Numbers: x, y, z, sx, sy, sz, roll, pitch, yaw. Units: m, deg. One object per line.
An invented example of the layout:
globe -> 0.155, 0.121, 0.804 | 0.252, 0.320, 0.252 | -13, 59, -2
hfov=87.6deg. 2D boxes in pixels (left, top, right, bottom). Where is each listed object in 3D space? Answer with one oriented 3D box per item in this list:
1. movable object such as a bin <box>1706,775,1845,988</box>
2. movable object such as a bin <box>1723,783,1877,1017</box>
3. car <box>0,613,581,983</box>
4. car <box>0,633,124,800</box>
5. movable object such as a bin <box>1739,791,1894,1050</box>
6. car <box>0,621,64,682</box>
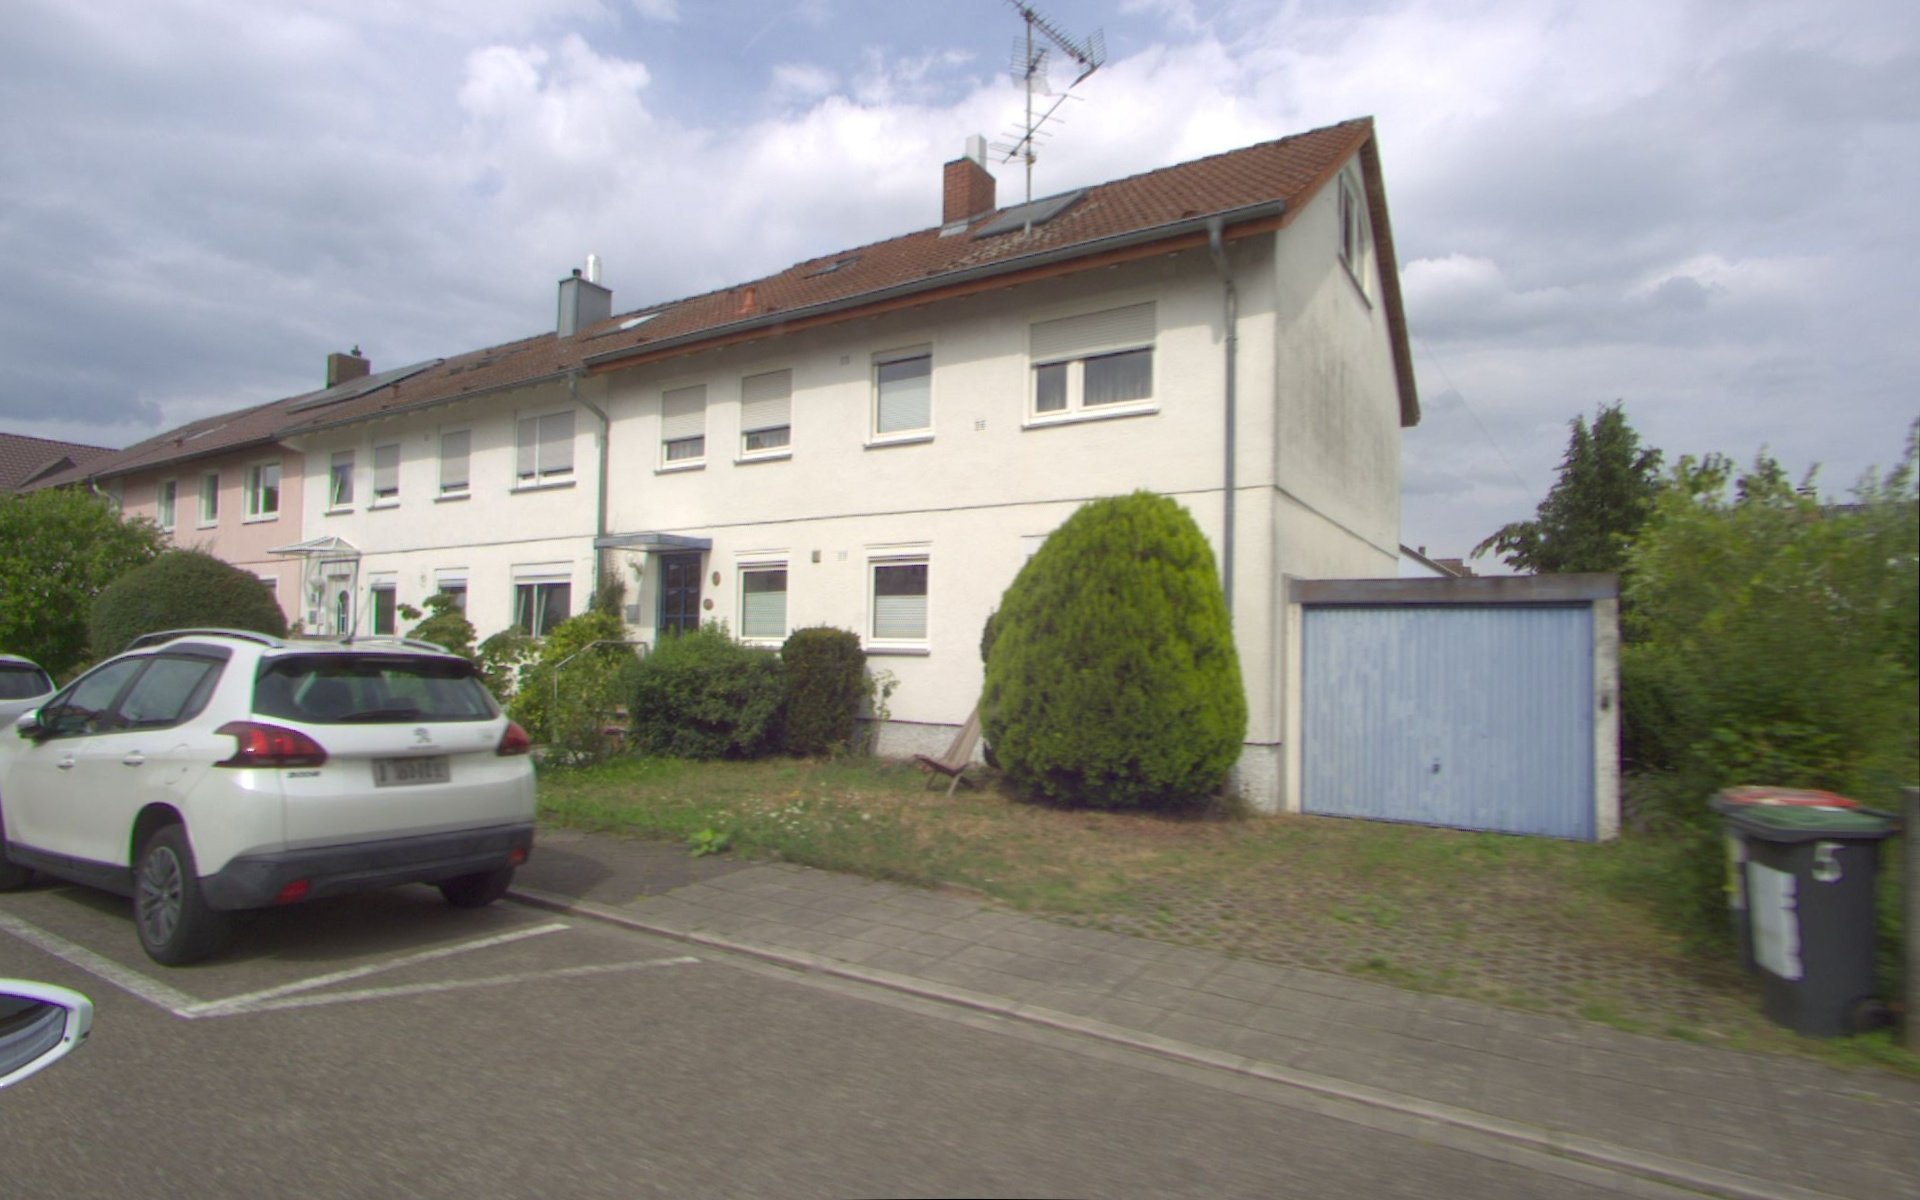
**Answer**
movable object such as a bin -> 4.097, 1.387, 5.057 | 0.458, 0.932, 0.431 | 0, -3, 28
movable object such as a bin -> 3.878, 1.356, 4.654 | 0.458, 0.932, 0.431 | 0, -3, 28
car -> -4.307, 0.919, 6.034 | 3.916, 1.562, 1.712 | 0, -4, 32
car -> -10.346, 1.031, 9.822 | 4.567, 1.430, 1.836 | 0, -2, 30
movable object such as a bin -> 3.603, 1.319, 4.239 | 0.414, 0.933, 0.407 | 0, -2, 28
car -> -26.116, 1.308, 25.741 | 1.907, 1.580, 4.262 | 0, -2, 33
